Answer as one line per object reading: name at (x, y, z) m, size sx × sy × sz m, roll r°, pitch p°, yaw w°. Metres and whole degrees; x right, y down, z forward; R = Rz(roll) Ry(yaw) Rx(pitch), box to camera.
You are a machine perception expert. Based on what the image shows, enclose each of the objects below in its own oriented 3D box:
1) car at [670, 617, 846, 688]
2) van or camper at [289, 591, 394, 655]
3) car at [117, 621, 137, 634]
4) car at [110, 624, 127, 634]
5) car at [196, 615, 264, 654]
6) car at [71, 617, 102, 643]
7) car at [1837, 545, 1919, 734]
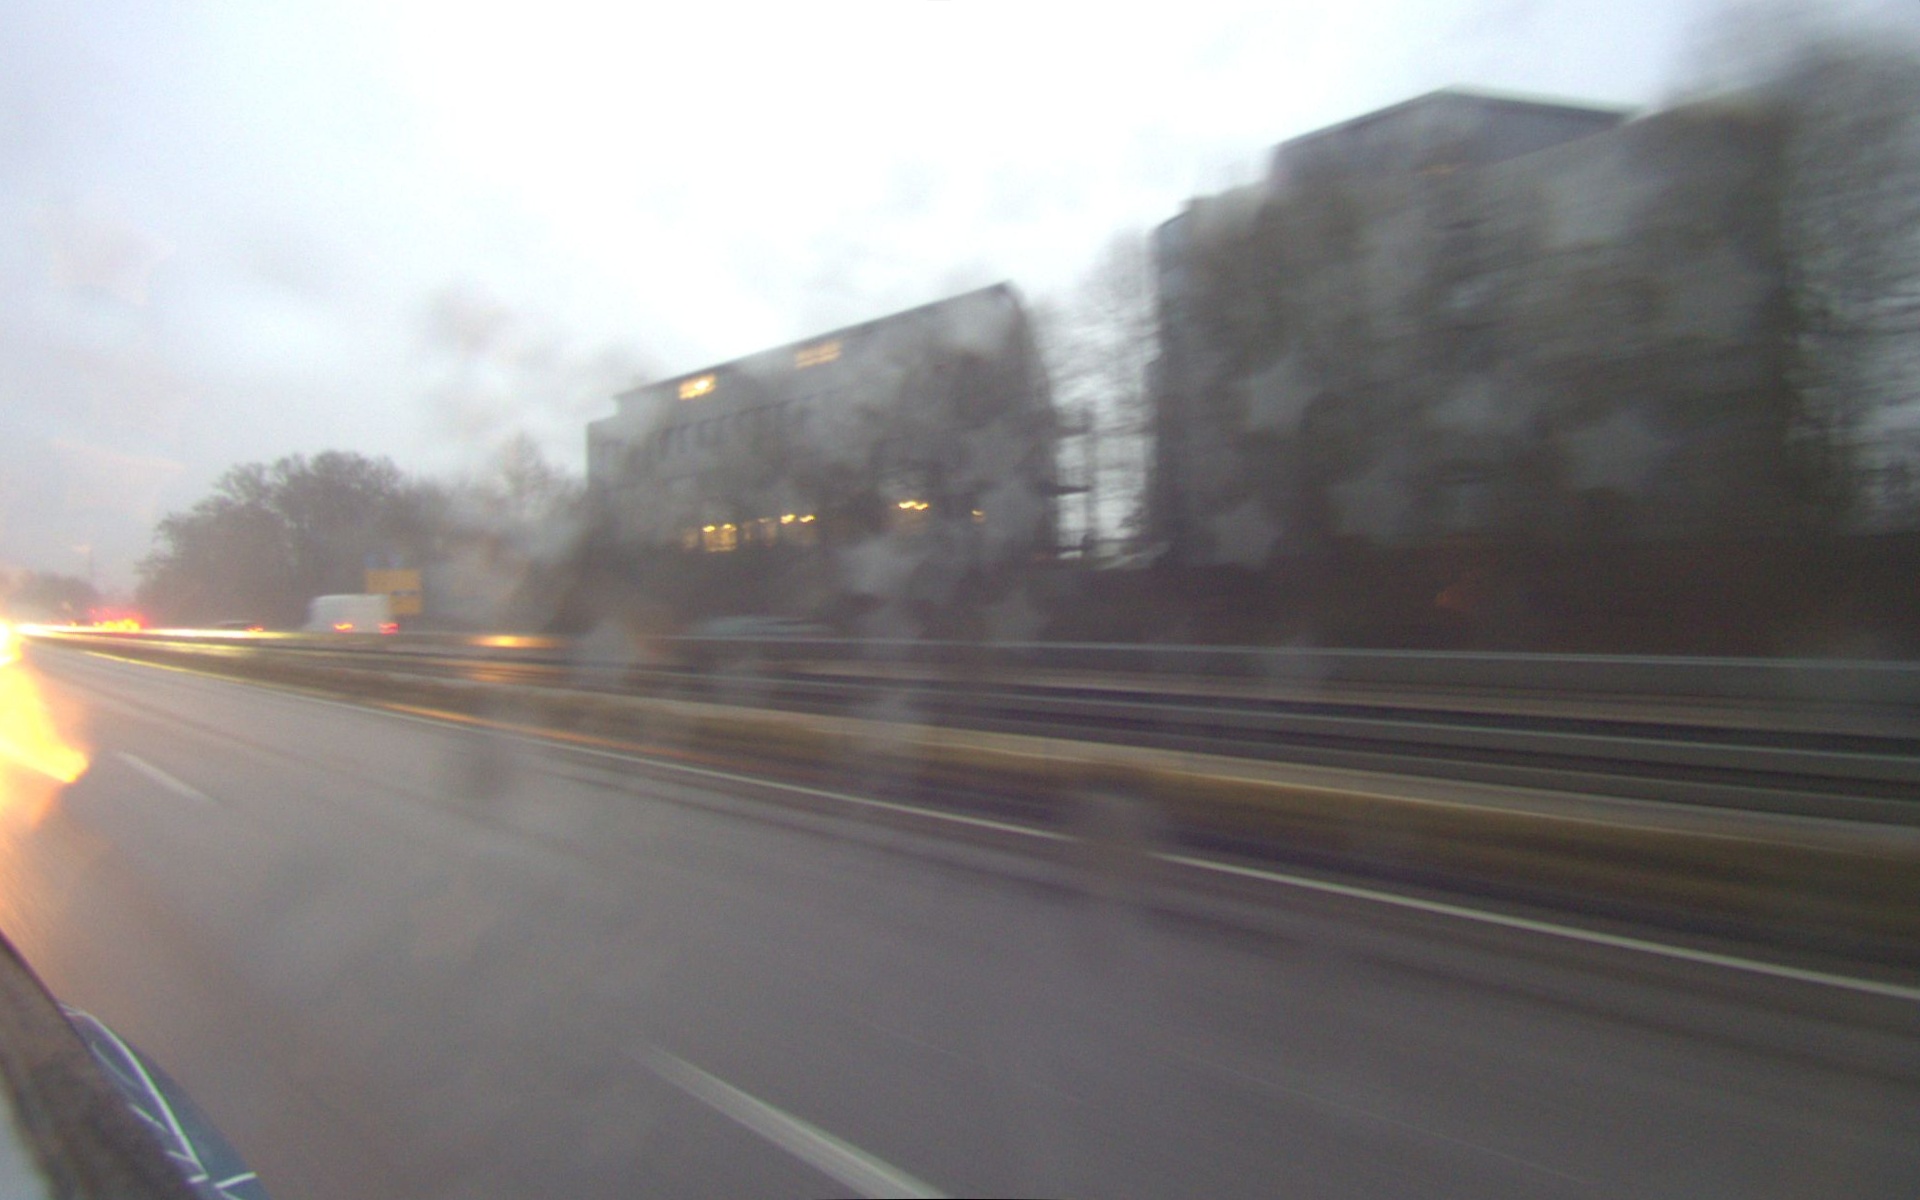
car at (-4.713, 1.141, 23.291) m, size 4.209 × 1.370 × 1.875 m, roll -2°, pitch 2°, yaw 44°
van or camper at (-28.251, 1.046, 46.058) m, size 7.404 × 2.590 × 2.054 m, roll -2°, pitch 2°, yaw 43°
car at (-106.935, 3.488, 129.881) m, size 1.528 × 1.524 × 4.543 m, roll -2°, pitch 1°, yaw -45°
car at (-124.980, 4.304, 150.311) m, size 1.528 × 1.281 × 4.689 m, roll -4°, pitch 2°, yaw -45°
car at (-32.657, 1.506, 45.230) m, size 4.001 × 1.563 × 1.762 m, roll -2°, pitch 2°, yaw 44°
car at (-83.712, 2.853, 96.994) m, size 1.952 × 2.299 × 5.053 m, roll -1°, pitch 0°, yaw -44°
car at (11.062, 0.310, 8.869) m, size 1.970 × 1.766 × 4.904 m, roll -4°, pitch 2°, yaw -43°
